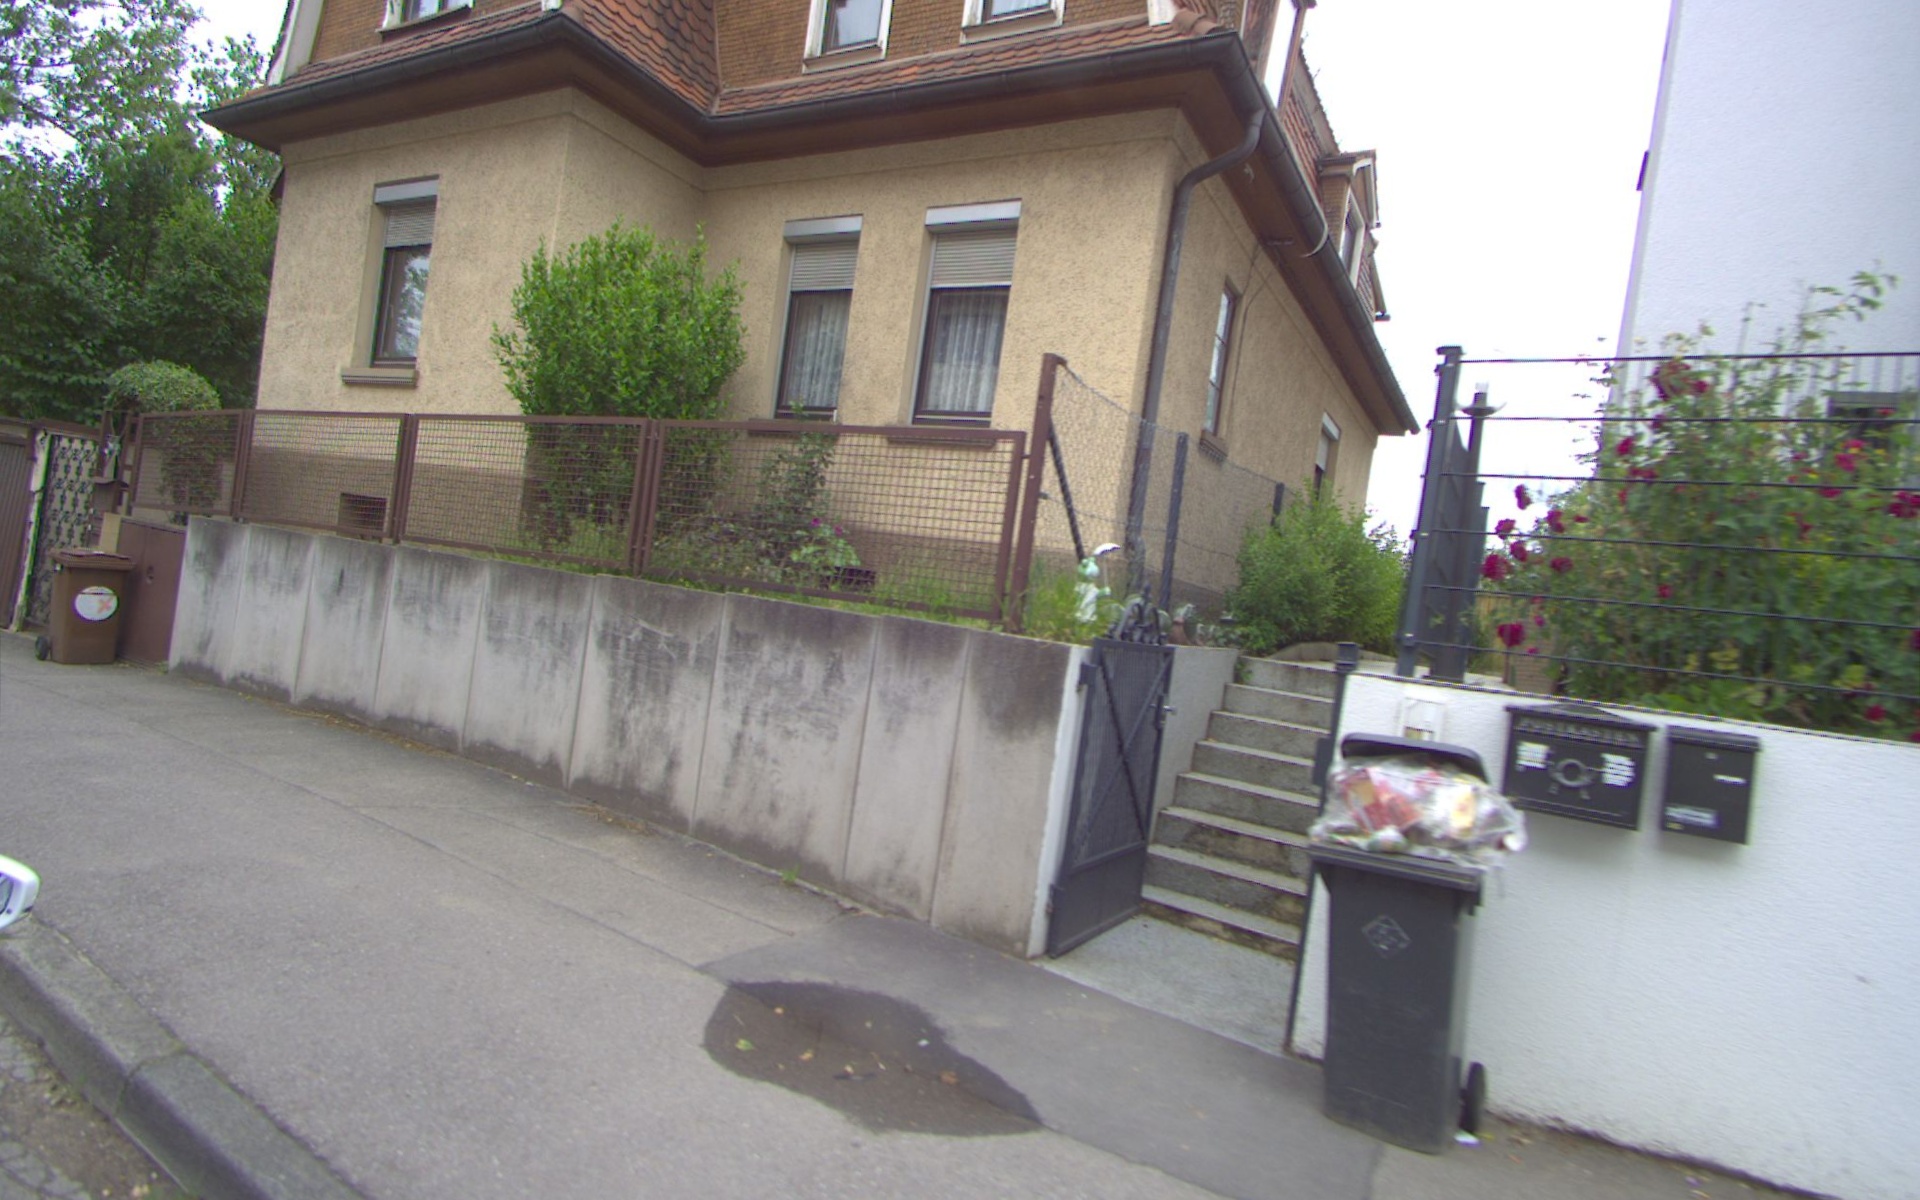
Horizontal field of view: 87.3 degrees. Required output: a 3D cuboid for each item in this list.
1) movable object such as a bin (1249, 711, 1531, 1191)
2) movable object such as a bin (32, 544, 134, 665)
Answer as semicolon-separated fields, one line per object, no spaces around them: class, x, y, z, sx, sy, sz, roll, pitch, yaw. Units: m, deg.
movable object such as a bin;1.337;1.006;3.121;0.623;1.194;0.528;7;4;29
movable object such as a bin;-7.313;0.035;8.393;0.556;0.937;0.461;7;4;30
